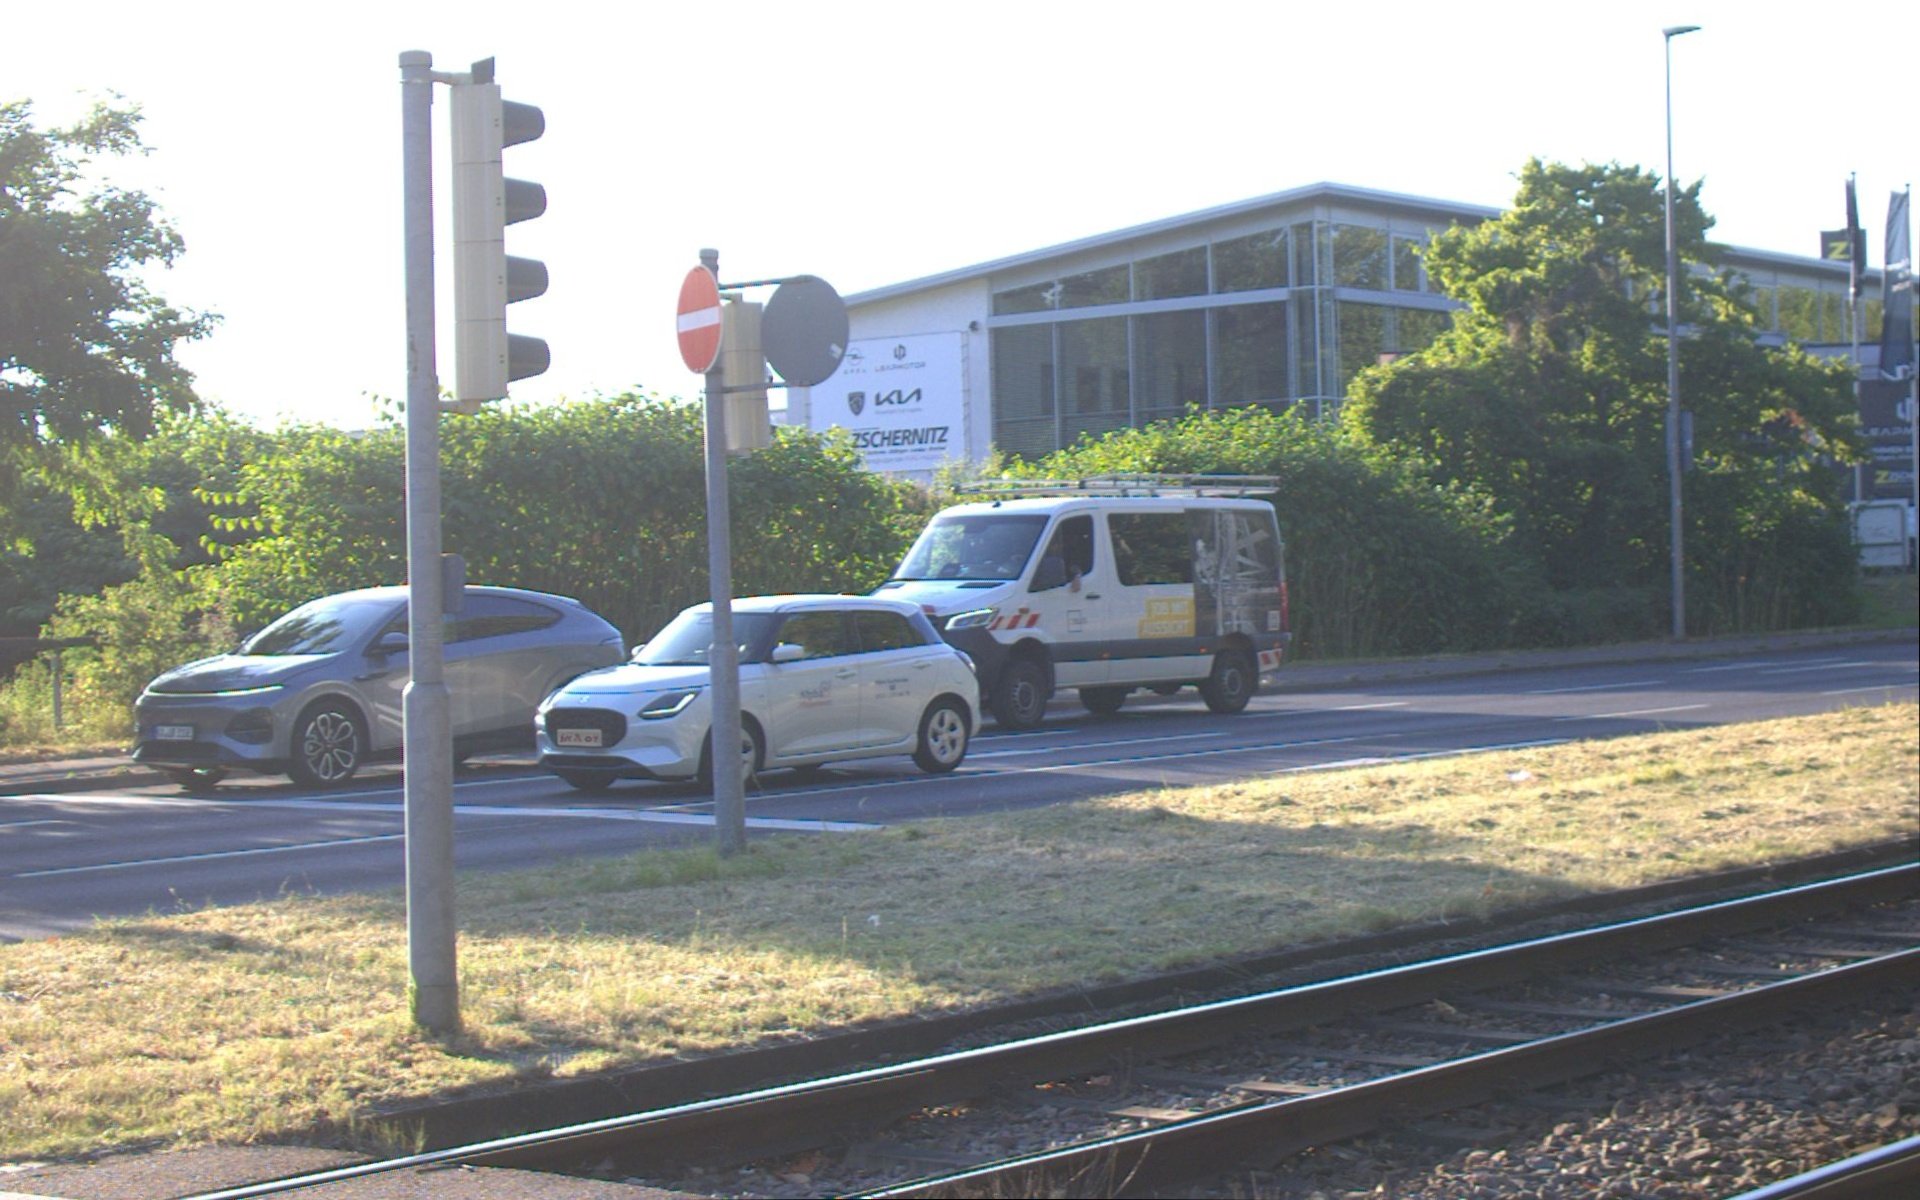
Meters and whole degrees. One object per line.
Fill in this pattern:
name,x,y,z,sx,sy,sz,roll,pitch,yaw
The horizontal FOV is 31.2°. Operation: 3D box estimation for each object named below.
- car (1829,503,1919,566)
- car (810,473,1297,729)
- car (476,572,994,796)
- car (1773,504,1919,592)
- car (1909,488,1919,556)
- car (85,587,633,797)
car,21.550,-1.483,77.160,3.791,1.383,1.758,0,1,21
car,1.125,-0.043,37.262,2.008,2.557,5.862,0,1,40
car,-1.727,0.609,27.507,1.874,1.612,3.991,0,1,40
car,19.678,-1.121,74.516,3.791,1.853,1.758,0,1,21
car,24.147,-1.827,80.069,3.791,1.561,1.758,0,1,21
car,-5.117,0.728,29.806,1.874,1.612,4.537,0,1,39
